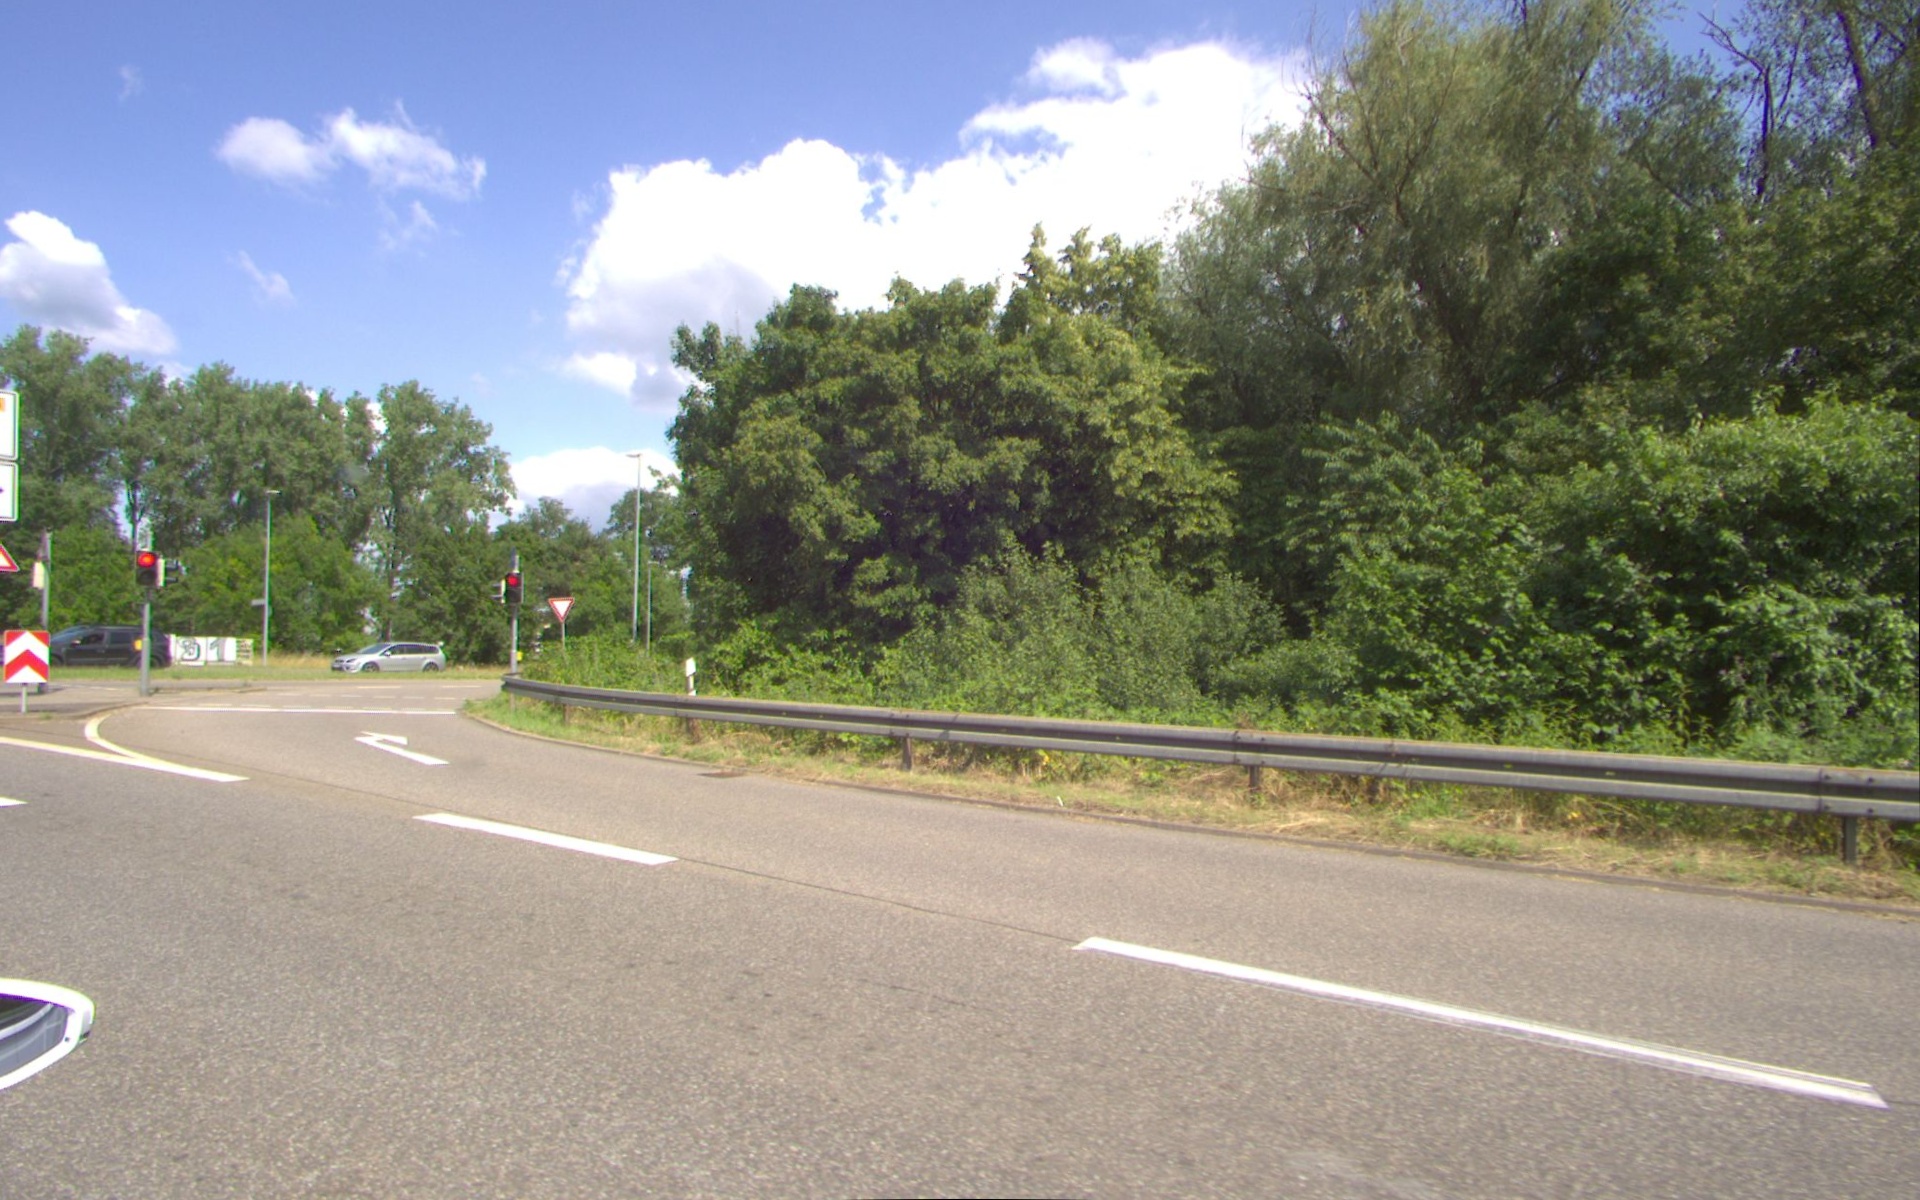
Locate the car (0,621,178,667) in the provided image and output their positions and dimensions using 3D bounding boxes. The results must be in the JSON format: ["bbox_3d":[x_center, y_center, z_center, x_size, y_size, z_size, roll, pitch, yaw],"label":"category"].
[{"bbox_3d":[-31.495,1.596,36.127,1.711,1.564,4.843,0,-3,31],"label":"car"}]

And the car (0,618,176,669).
[{"bbox_3d":[-28.867,1.451,33.138,1.711,1.564,4.264,0,-3,31],"label":"car"}]

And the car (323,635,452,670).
[{"bbox_3d":[-23.886,2.197,41.944,1.710,1.337,4.471,0,-3,28],"label":"car"}]
